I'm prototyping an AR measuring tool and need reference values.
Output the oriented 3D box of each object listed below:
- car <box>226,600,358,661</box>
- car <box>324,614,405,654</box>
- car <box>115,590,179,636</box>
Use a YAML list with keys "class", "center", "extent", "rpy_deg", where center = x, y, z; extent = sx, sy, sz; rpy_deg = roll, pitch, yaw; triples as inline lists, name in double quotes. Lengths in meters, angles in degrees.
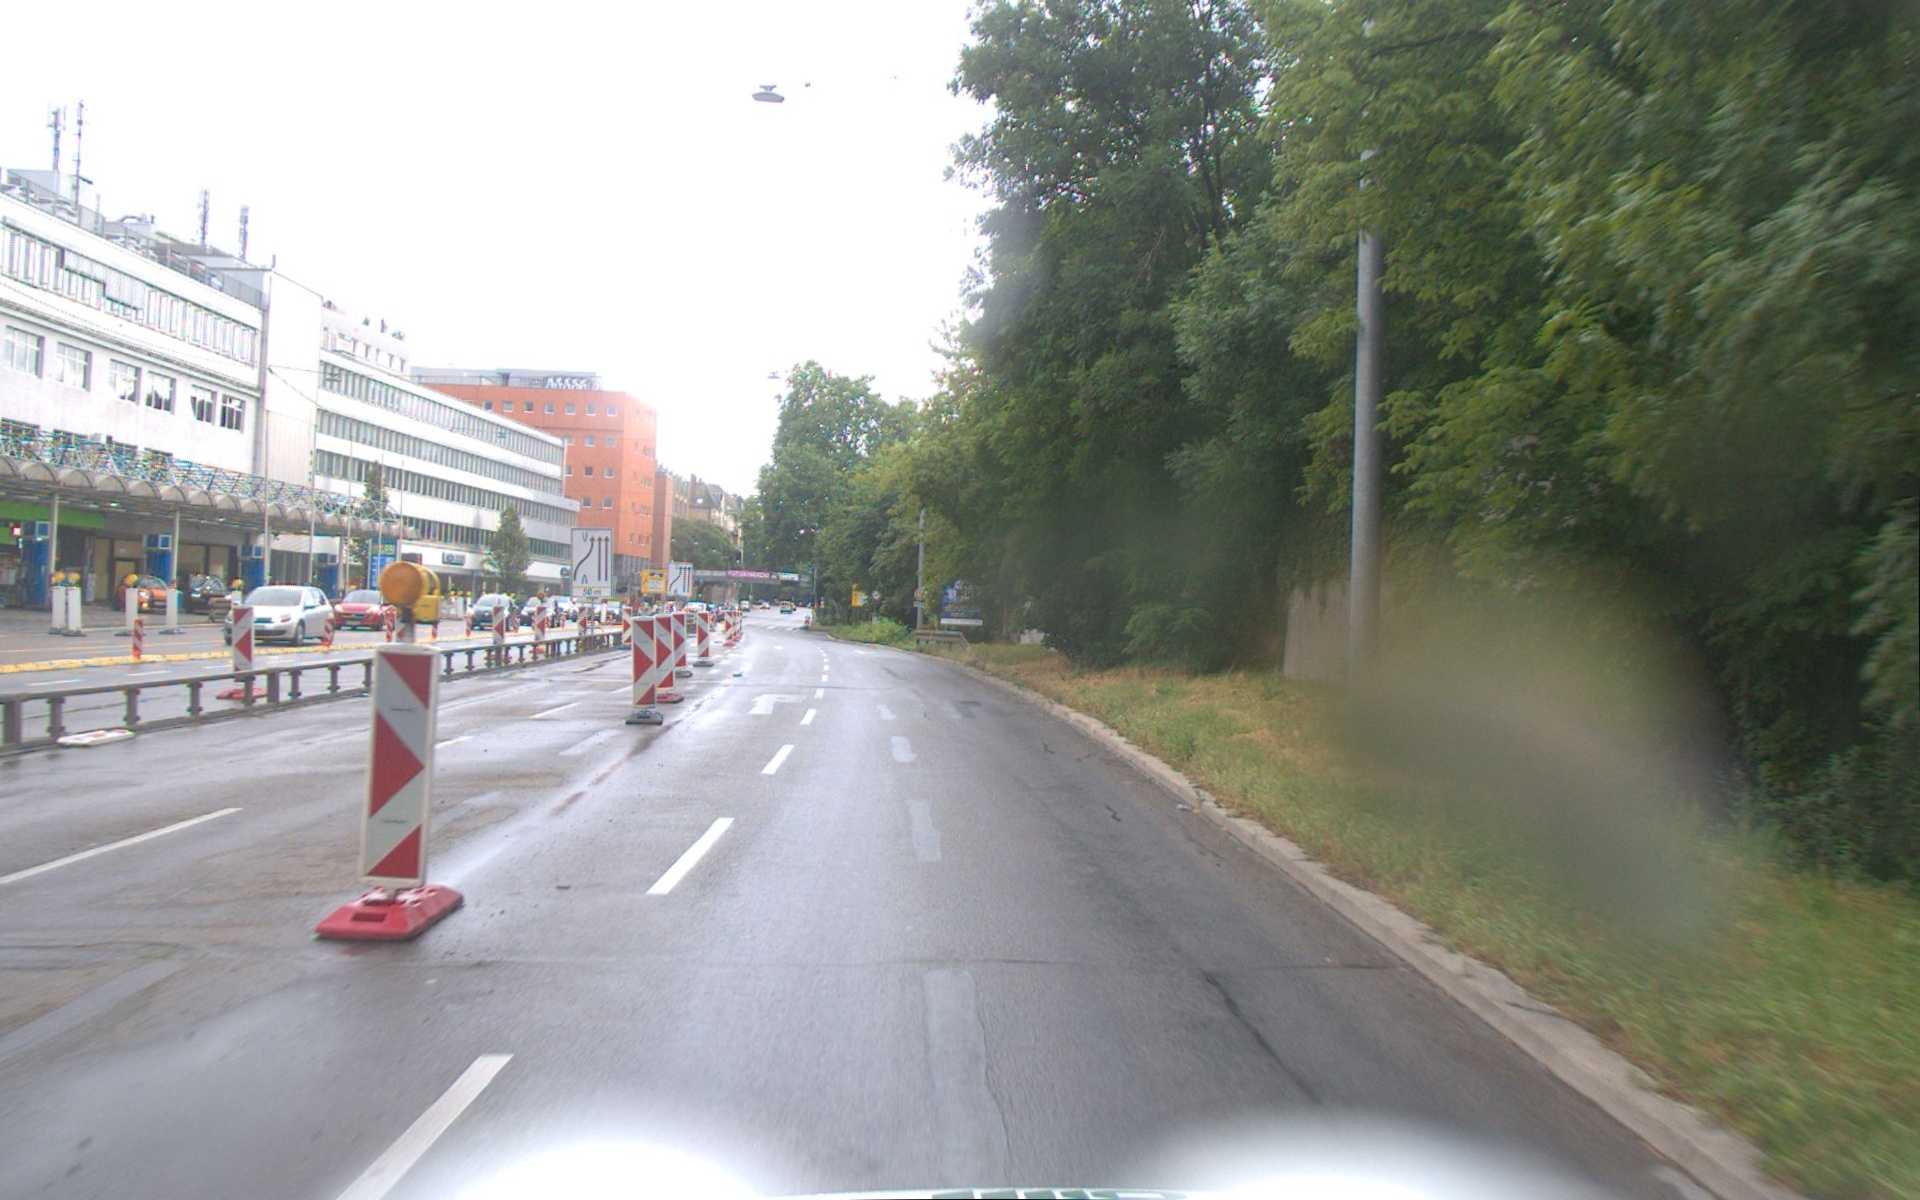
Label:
- class: "car"
  center: [-16.725, 0.744, 41.636]
  extent: [1.744, 1.405, 4.452]
  rpy_deg: [1, -1, -4]
- class: "car"
  center: [-22.137, 1.254, 61.606]
  extent: [1.744, 1.405, 3.997]
  rpy_deg: [1, -1, -4]
- class: "car"
  center: [-34.252, 0.527, 69.619]
  extent: [1.784, 1.684, 3.952]
  rpy_deg: [5, -2, -34]
